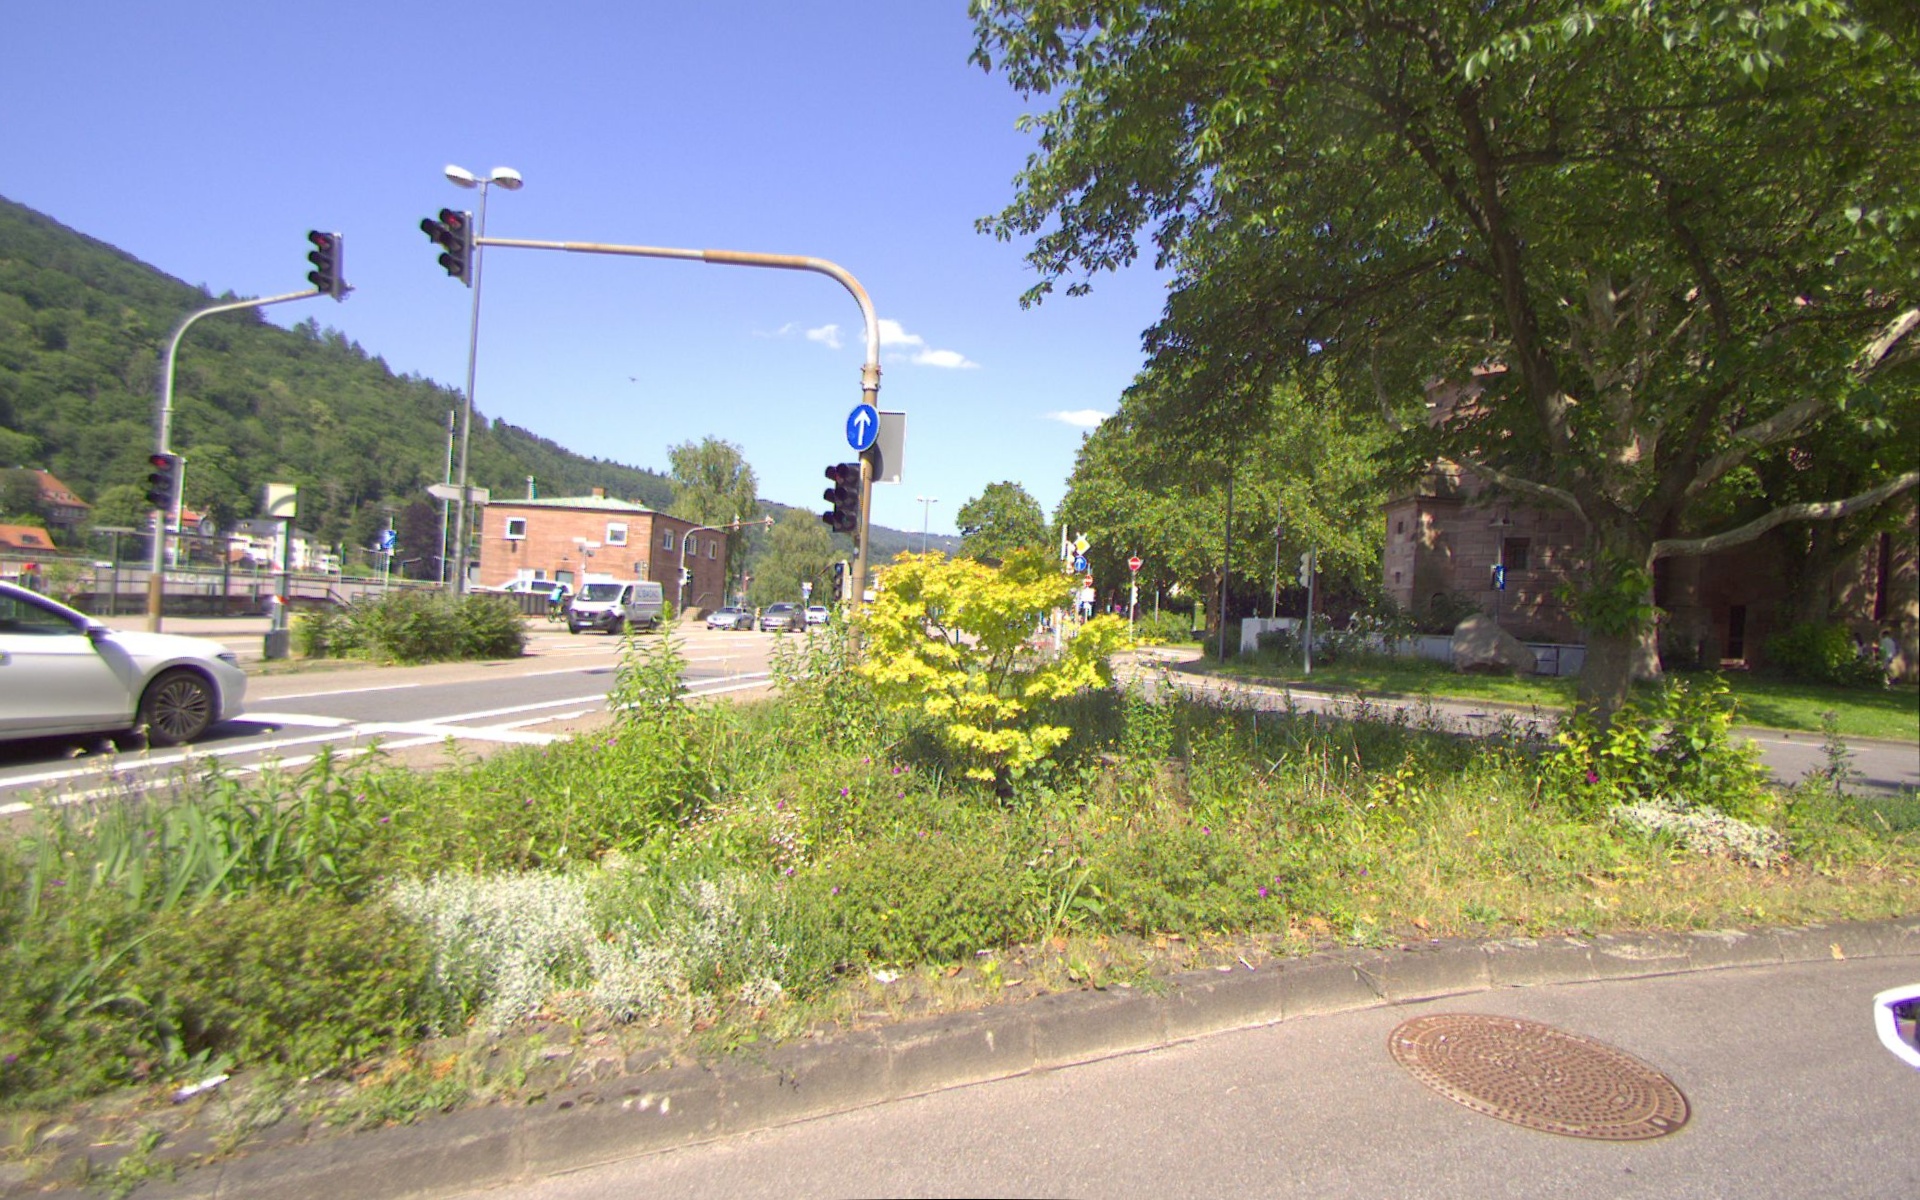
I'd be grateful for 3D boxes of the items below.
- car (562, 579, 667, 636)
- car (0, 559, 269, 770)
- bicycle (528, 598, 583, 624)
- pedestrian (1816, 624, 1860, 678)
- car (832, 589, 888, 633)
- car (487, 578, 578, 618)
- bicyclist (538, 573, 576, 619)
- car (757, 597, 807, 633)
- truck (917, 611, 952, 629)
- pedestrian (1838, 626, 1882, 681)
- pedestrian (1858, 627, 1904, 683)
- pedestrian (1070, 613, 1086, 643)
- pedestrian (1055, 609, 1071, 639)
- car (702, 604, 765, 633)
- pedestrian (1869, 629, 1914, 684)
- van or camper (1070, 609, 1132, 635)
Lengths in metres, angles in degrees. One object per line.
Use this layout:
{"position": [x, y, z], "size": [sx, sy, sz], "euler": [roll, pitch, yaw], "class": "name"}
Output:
{"position": [-13.932, 0.288, 40.859], "size": [2.177, 2.106, 5.045], "euler": [2, 0, 4], "class": "car"}
{"position": [-7.957, 0.450, 7.400], "size": [1.755, 1.552, 4.740], "euler": [2, -1, 13], "class": "car"}
{"position": [-18.360, 0.478, 45.669], "size": [1.192, 1.105, 2.599], "euler": [2, 0, 6], "class": "bicycle"}
{"position": [30.040, 1.739, 34.371], "size": [0.779, 1.779, 0.666], "euler": [4, 0, 9], "class": "pedestrian"}
{"position": [-6.285, 0.681, 64.045], "size": [2.343, 2.611, 6.058], "euler": [2, 0, 5], "class": "car"}
{"position": [-24.071, -0.093, 56.551], "size": [4.558, 2.040, 1.986], "euler": [2, 0, -27], "class": "car"}
{"position": [-18.344, -0.183, 45.759], "size": [1.191, 2.040, 1.119], "euler": [2, 0, 6], "class": "bicyclist"}
{"position": [-9.787, 0.826, 55.527], "size": [1.960, 1.857, 4.000], "euler": [2, 0, 1], "class": "car"}
{"position": [-3.207, 2.436, 124.307], "size": [2.134, 2.040, 6.234], "euler": [2, 0, -24], "class": "truck"}
{"position": [30.879, 1.831, 34.466], "size": [0.779, 1.779, 0.666], "euler": [4, 0, 9], "class": "pedestrian"}
{"position": [30.748, 1.824, 33.538], "size": [0.779, 1.779, 0.666], "euler": [4, 0, 9], "class": "pedestrian"}
{"position": [7.019, 1.665, 59.742], "size": [0.749, 1.731, 0.877], "euler": [2, 0, 22], "class": "pedestrian"}
{"position": [6.121, 1.415, 59.647], "size": [0.749, 1.742, 0.795], "euler": [2, 0, 22], "class": "pedestrian"}
{"position": [-12.463, 0.975, 55.529], "size": [2.169, 1.477, 4.751], "euler": [2, 0, 3], "class": "car"}
{"position": [31.664, 1.920, 34.150], "size": [0.779, 1.779, 0.666], "euler": [4, 0, 9], "class": "pedestrian"}
{"position": [11.382, 1.780, 81.275], "size": [4.478, 1.927, 1.995], "euler": [2, 0, 33], "class": "van or camper"}
